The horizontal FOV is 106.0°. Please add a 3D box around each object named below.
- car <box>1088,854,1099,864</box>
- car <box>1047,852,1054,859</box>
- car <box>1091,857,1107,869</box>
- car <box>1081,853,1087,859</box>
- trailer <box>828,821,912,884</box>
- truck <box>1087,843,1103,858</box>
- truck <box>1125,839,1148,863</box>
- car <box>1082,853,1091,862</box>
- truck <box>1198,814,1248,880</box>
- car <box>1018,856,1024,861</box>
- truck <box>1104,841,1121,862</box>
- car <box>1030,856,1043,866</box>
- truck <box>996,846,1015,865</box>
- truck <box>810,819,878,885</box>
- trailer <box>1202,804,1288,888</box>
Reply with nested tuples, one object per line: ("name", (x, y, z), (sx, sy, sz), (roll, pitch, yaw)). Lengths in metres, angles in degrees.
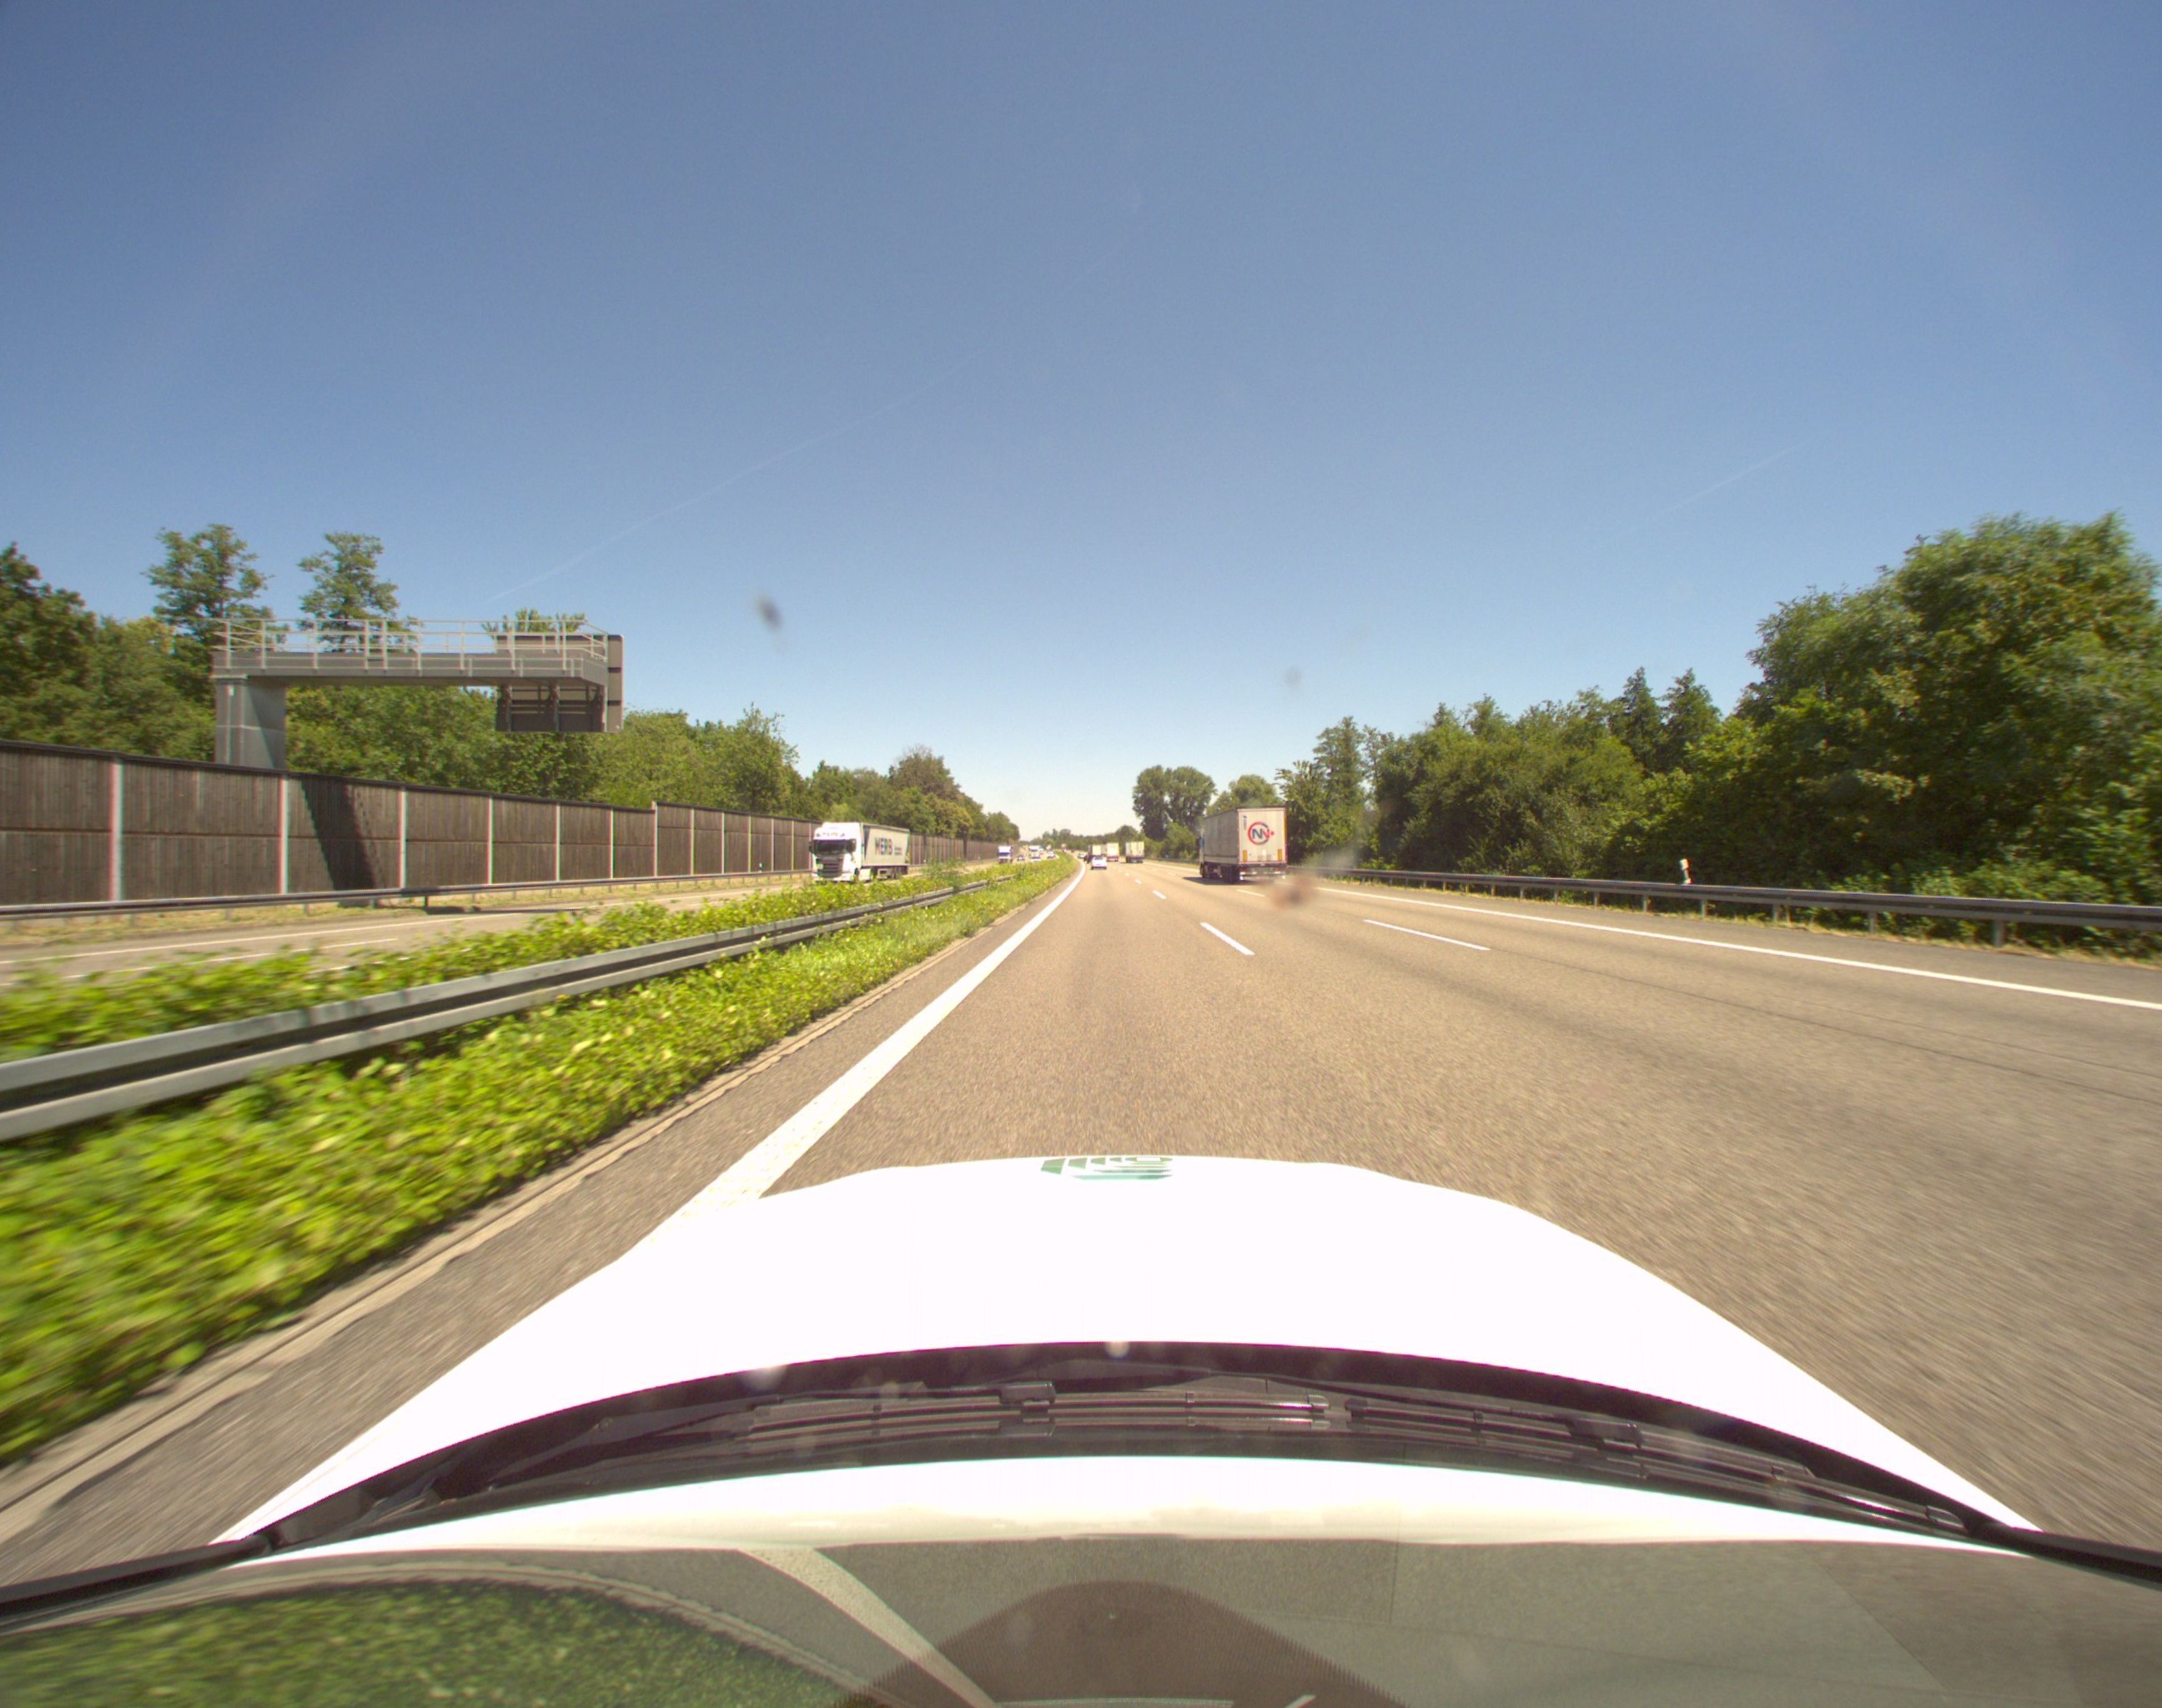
("car", (2.294, 0.969, 153.959), (1.987, 1.772, 4.000), (-1, 0, 0))
("car", (-9.492, 0.517, 250.885), (1.920, 1.945, 4.608), (-1, 0, 0))
("car", (2.118, 1.089, 95.494), (1.708, 1.369, 3.378), (-1, 0, 3))
("car", (0.884, 0.476, 237.626), (1.718, 1.783, 3.998), (-1, 0, -1))
("trailer", (-15.309, -0.086, 60.524), (2.476, 4.135, 13.654), (-1, 0, 1))
("truck", (4.349, -1.053, 255.793), (3.574, 4.311, 12.169), (-1, 0, -5))
("truck", (10.106, -0.520, 150.316), (3.481, 4.311, 10.986), (-1, 0, 0))
("car", (1.355, 0.769, 187.470), (1.988, 2.013, 3.998), (-1, 0, -1))
("truck", (9.623, -0.451, 55.818), (2.596, 4.287, 5.437), (-1, 0, 2))
("car", (-15.368, 1.258, 209.234), (1.275, 1.255, 3.027), (-1, 0, -1))
("truck", (6.816, -0.478, 178.092), (3.349, 4.311, 10.826), (-1, 0, 0))
("car", (-7.132, 1.168, 130.720), (1.577, 1.588, 4.002), (-1, 0, 2))
("truck", (-14.898, 0.220, 162.046), (2.824, 3.609, 8.744), (-1, 0, 0))
("truck", (-15.415, -0.109, 53.458), (2.511, 4.066, 6.370), (-1, 0, 0))
("trailer", (9.452, -0.396, 48.811), (2.614, 4.261, 14.064), (-1, 0, 1))
